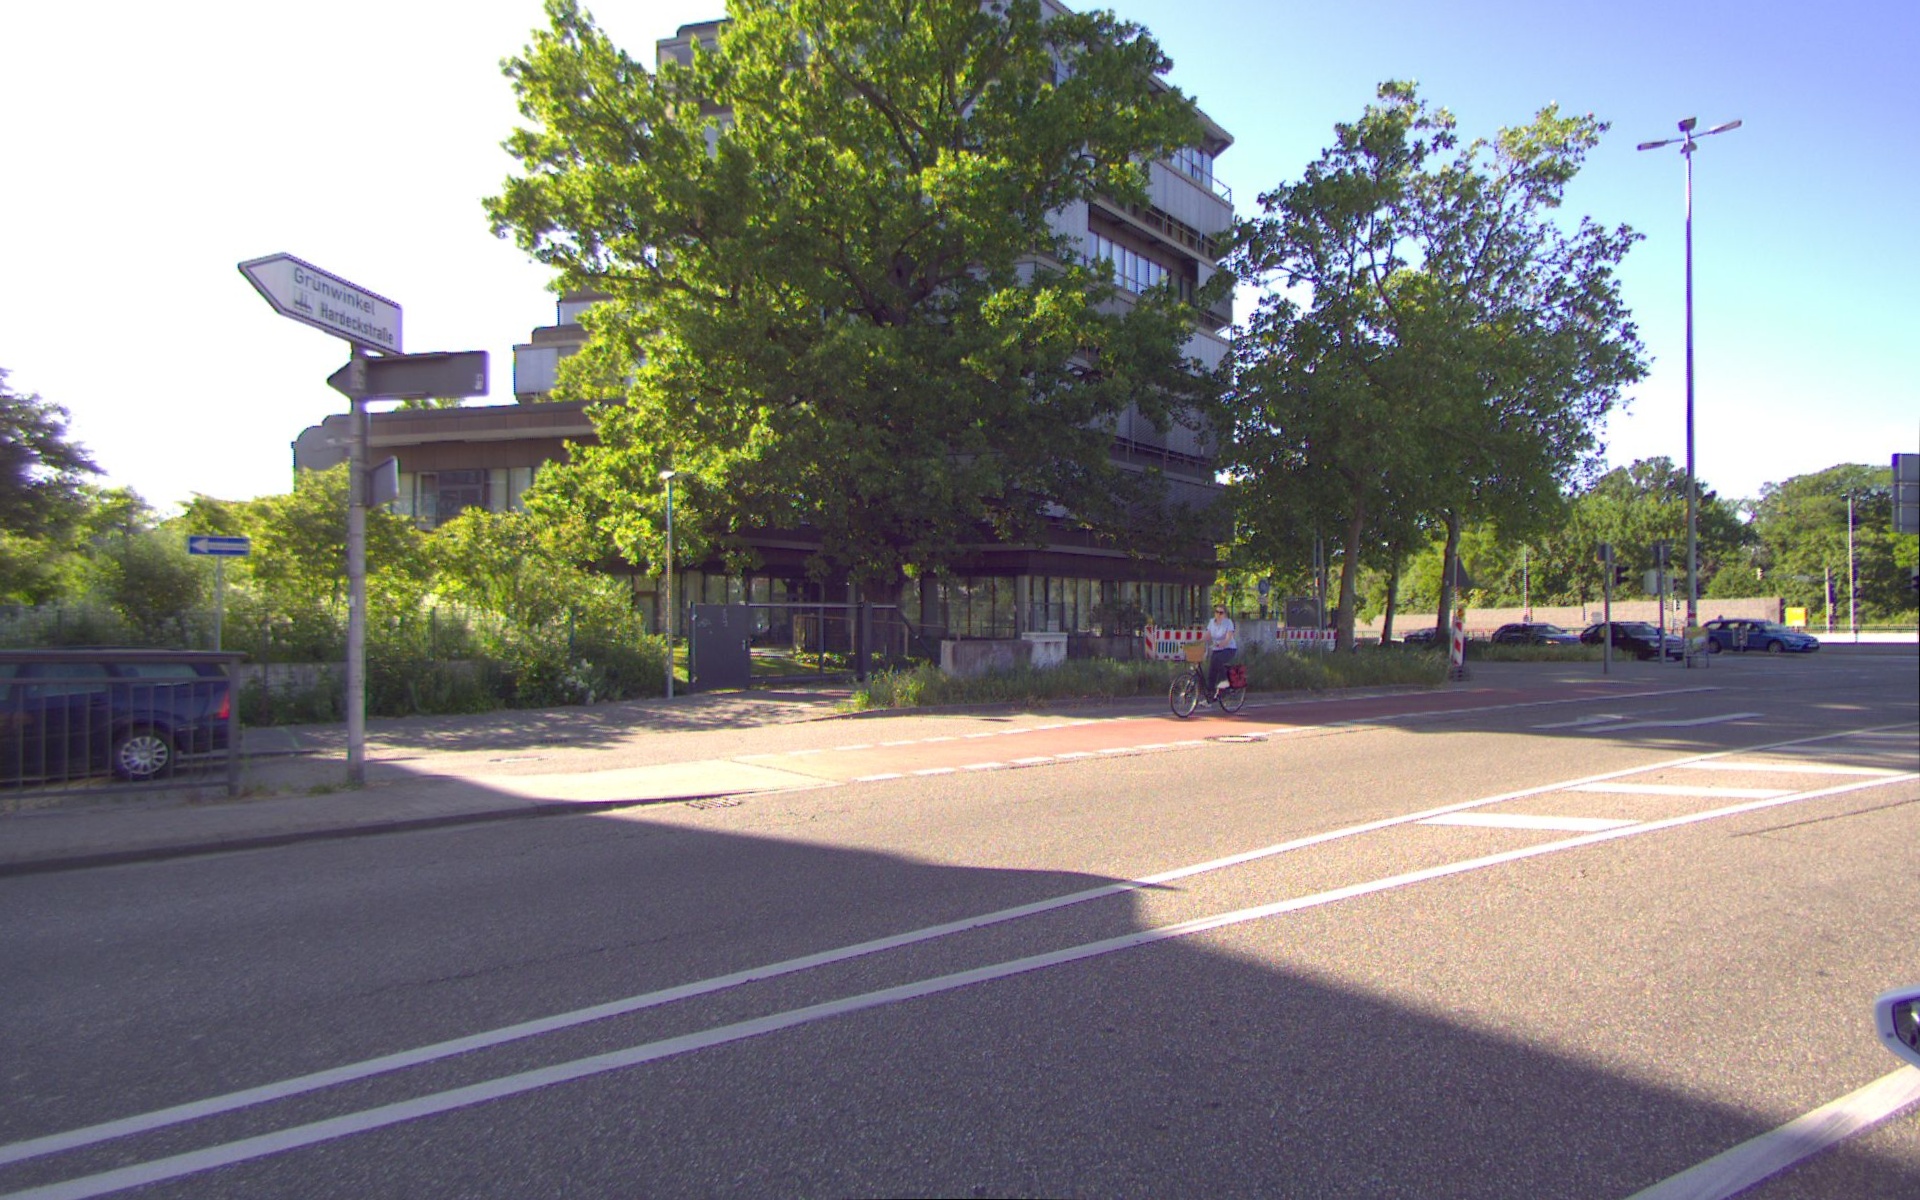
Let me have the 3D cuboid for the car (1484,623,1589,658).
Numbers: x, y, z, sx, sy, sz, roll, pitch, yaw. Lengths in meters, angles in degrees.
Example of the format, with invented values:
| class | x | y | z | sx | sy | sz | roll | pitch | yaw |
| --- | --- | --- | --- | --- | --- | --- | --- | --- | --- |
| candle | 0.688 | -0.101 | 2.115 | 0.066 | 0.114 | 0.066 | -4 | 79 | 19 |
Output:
| class | x | y | z | sx | sy | sz | roll | pitch | yaw |
| --- | --- | --- | --- | --- | --- | --- | --- | --- | --- |
| car | 25.860 | 1.804 | 45.283 | 1.792 | 1.457 | 4.446 | 0 | -2 | -7 |

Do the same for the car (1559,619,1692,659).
| class | x | y | z | sx | sy | sz | roll | pitch | yaw |
| --- | --- | --- | --- | --- | --- | --- | --- | --- | --- |
| car | 25.570 | 1.477 | 38.801 | 1.792 | 1.457 | 4.446 | 0 | -2 | -7 |

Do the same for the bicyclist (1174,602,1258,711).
| class | x | y | z | sx | sy | sz | roll | pitch | yaw |
| --- | --- | --- | --- | --- | --- | --- | --- | --- | --- |
| bicyclist | 4.220 | 0.911 | 16.572 | 1.183 | 1.724 | 0.684 | -1 | -1 | -29 |

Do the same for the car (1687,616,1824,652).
| class | x | y | z | sx | sy | sz | roll | pitch | yaw |
| --- | --- | --- | --- | --- | --- | --- | --- | --- | --- |
| car | 34.243 | 1.473 | 43.397 | 1.795 | 1.457 | 4.438 | 0 | -2 | -15 |

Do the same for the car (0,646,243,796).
| class | x | y | z | sx | sy | sz | roll | pitch | yaw |
| --- | --- | --- | --- | --- | --- | --- | --- | --- | --- |
| car | -10.769 | 1.323 | 11.233 | 4.411 | 1.523 | 1.806 | 1 | -2 | -38 |

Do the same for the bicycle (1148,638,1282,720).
| class | x | y | z | sx | sy | sz | roll | pitch | yaw |
| --- | --- | --- | --- | --- | --- | --- | --- | --- | --- |
| bicycle | 4.222 | 1.267 | 16.566 | 2.299 | 1.218 | 0.684 | -1 | -1 | -30 |
